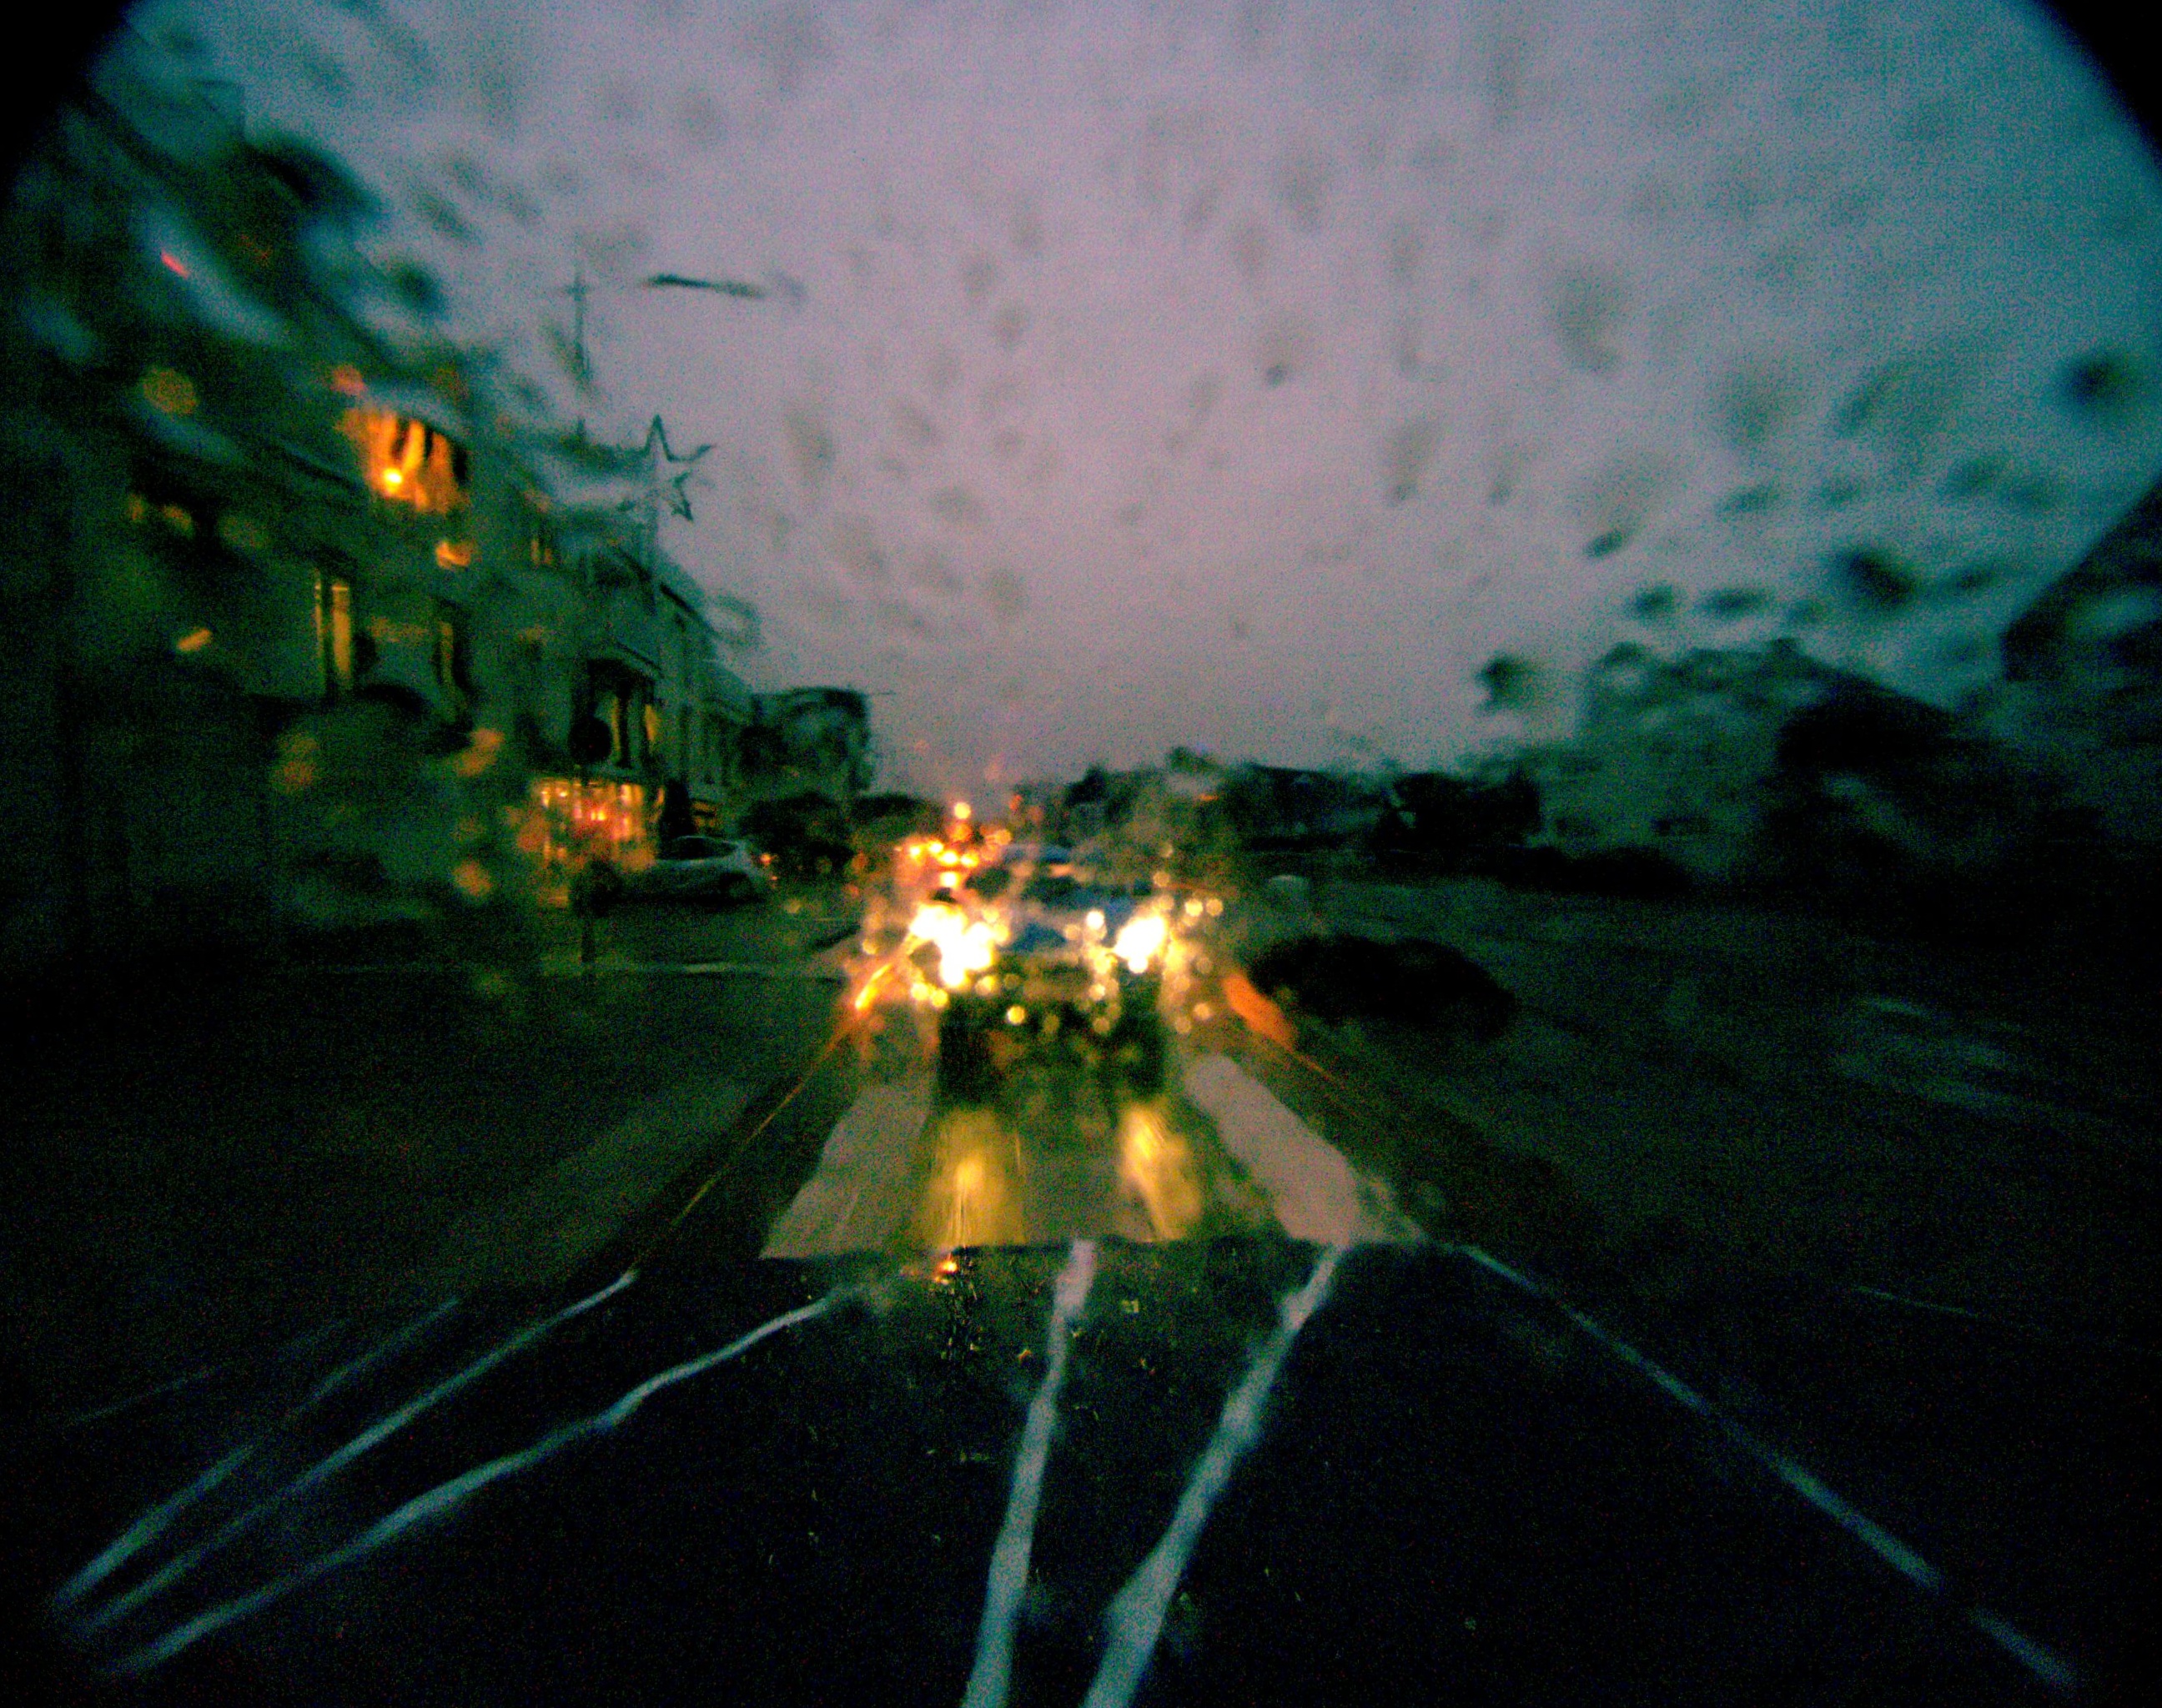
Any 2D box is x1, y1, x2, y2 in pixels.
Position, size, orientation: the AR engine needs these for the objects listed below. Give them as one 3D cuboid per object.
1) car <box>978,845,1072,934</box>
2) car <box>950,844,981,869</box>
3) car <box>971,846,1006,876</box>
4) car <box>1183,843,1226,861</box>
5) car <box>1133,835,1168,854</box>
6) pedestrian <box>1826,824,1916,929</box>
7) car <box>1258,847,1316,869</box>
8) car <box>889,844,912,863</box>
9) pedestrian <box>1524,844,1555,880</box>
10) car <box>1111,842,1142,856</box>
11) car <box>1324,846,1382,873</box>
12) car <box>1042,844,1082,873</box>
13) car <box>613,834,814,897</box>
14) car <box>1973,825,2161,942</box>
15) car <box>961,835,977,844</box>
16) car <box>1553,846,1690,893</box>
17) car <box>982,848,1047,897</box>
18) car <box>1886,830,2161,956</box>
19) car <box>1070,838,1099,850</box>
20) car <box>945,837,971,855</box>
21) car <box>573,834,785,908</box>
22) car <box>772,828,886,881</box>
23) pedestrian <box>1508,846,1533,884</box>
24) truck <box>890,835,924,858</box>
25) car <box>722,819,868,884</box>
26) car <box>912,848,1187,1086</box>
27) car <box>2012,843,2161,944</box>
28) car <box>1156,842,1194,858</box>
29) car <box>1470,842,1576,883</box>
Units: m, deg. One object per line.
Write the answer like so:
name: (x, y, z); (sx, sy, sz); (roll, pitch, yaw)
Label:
car: (-1.299, 0.635, 15.995); (1.682, 1.615, 3.996); (-1, 1, -8)
car: (-8.048, 0.148, 52.615); (1.835, 1.536, 3.710); (-2, 2, -12)
car: (-4.949, 0.344, 40.610); (1.742, 1.435, 3.996); (-2, 1, -7)
car: (10.653, -0.182, 65.726); (1.802, 1.460, 4.249); (0, 1, -20)
car: (6.892, -0.935, 75.326); (1.802, 1.817, 4.249); (-1, 1, -20)
pedestrian: (13.252, 0.362, 12.764); (0.725, 1.702, 0.839); (1, 1, -27)
car: (14.498, 0.270, 53.731); (1.802, 1.460, 4.249); (0, 1, -20)
car: (-15.495, -0.092, 65.226); (1.850, 1.577, 3.764); (0, 1, -14)
pedestrian: (16.101, 0.270, 26.671); (0.693, 1.242, 0.602); (-1, 1, -11)
car: (4.788, -0.561, 80.696); (1.678, 1.460, 4.009); (1, 0, -24)
car: (16.385, 0.295, 45.946); (1.480, 1.500, 3.497); (0, 1, -16)
car: (-1.053, 0.213, 40.880); (1.509, 1.403, 3.361); (-1, 1, -13)
car: (-9.797, 0.285, 20.647); (4.524, 1.484, 1.972); (2, 1, -11)
car: (16.232, 0.441, 11.229); (1.844, 1.660, 3.885); (1, 1, -41)
car: (-20.066, -2.594, 135.808); (1.802, 1.460, 4.247); (-1, 1, -25)
car: (20.464, 0.520, 28.998); (1.781, 1.560, 4.088); (-1, 2, -13)
car: (-2.266, 0.552, 25.205); (1.573, 1.460, 3.611); (-2, 1, -13)
car: (13.626, 0.461, 9.940); (1.918, 1.522, 4.167); (-1, 2, -45)
car: (0.351, -1.207, 91.731); (1.802, 1.460, 4.606); (-1, 1, -24)
car: (-14.316, -0.967, 88.328); (2.002, 2.002, 3.991); (-2, 2, -25)
car: (-9.103, 0.376, 17.584); (4.003, 1.495, 1.810); (2, 1, -17)
car: (-10.272, 0.030, 31.211); (4.155, 1.625, 1.752); (7, -1, -16)
pedestrian: (15.215, 0.387, 26.309); (0.512, 1.294, 0.601); (-2, 2, -44)
truck: (-18.086, -0.787, 78.707); (2.251, 2.218, 6.090); (-2, 2, -24)
car: (-10.210, -0.096, 27.480); (4.555, 1.923, 1.973); (4, 0, -10)
car: (-0.498, 0.768, 7.319); (1.889, 1.570, 3.996); (-2, 1, -9)
car: (18.416, 0.669, 12.385); (1.768, 1.621, 3.988); (1, 0, -37)
car: (8.724, -0.388, 70.689); (1.802, 1.460, 4.249); (0, 1, -20)
car: (19.364, 0.317, 33.475); (1.705, 1.651, 3.953); (-1, 2, -15)
